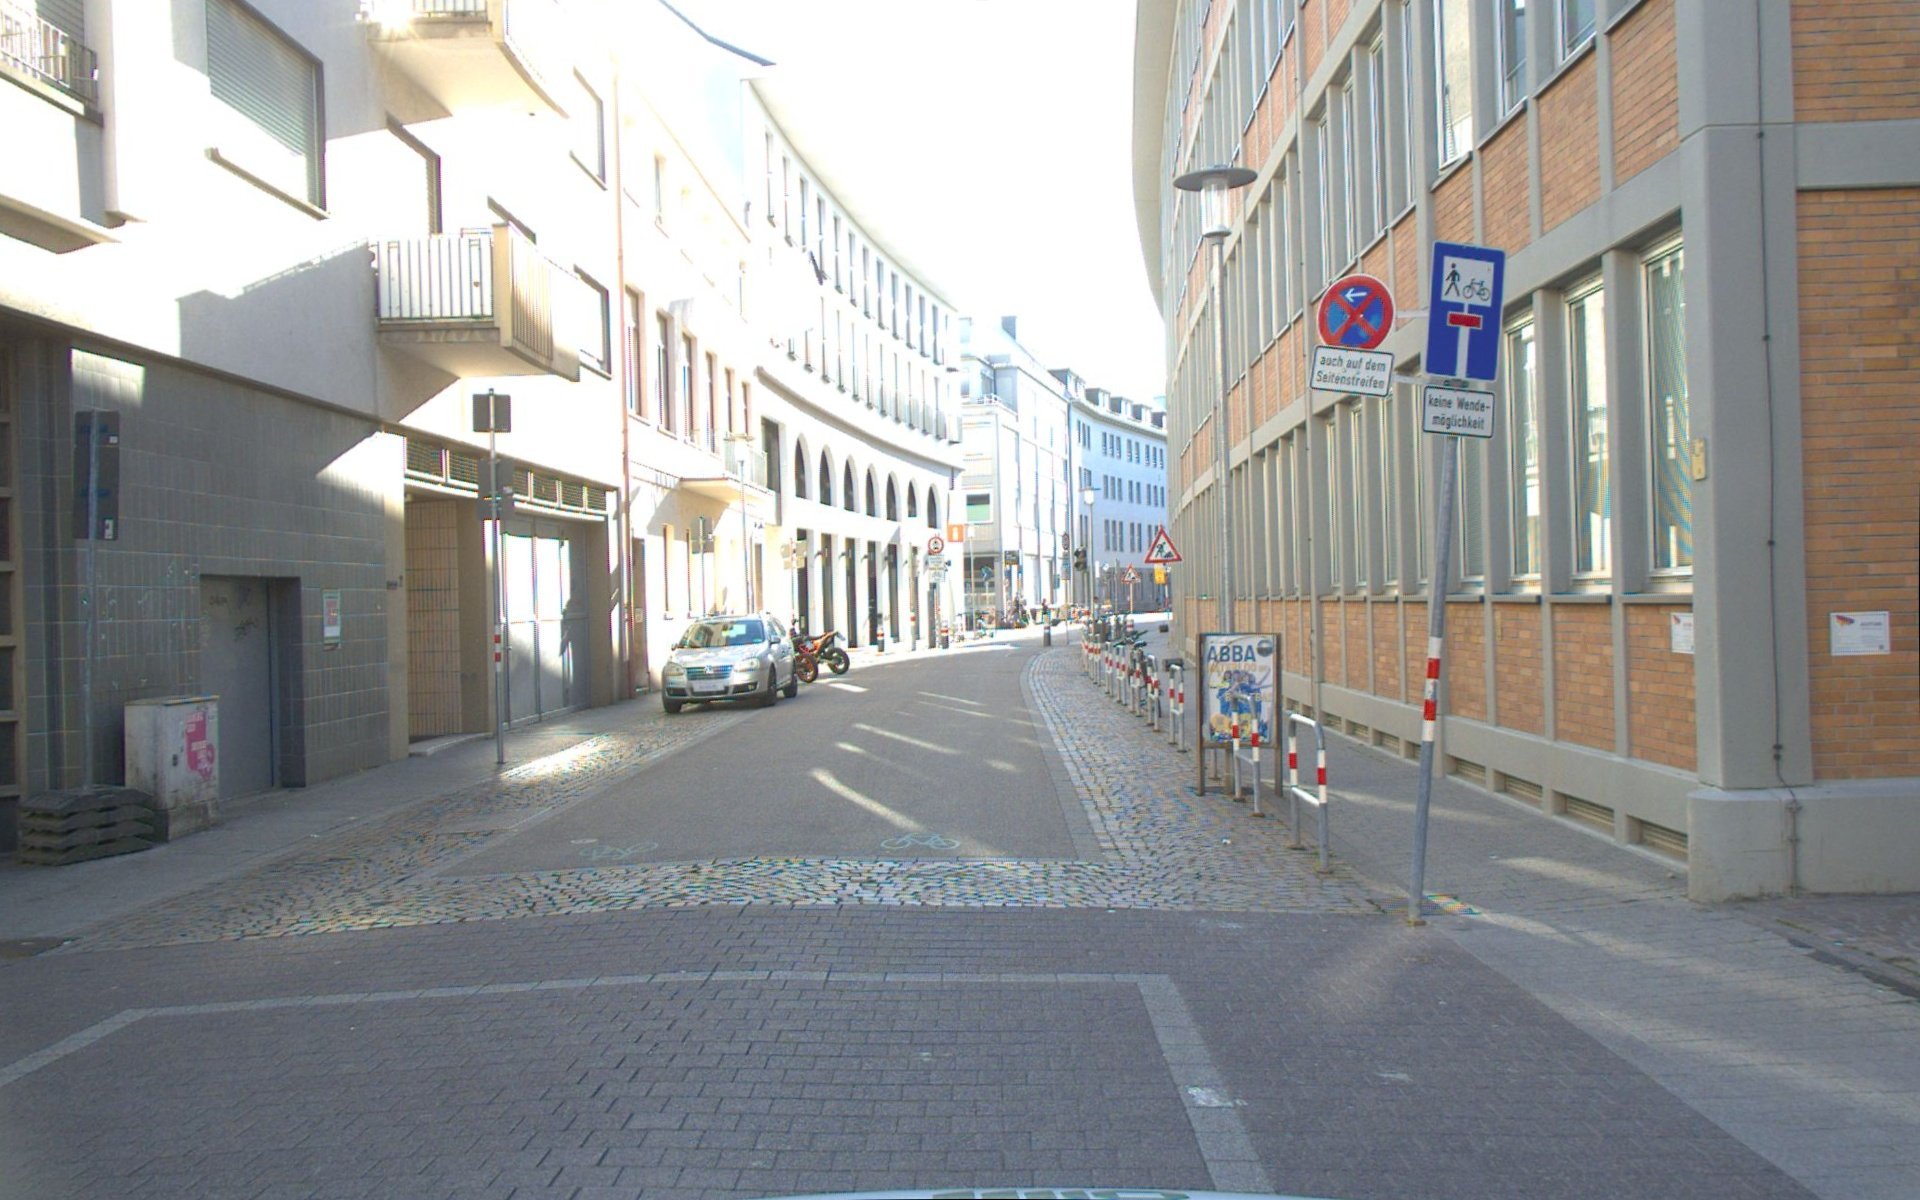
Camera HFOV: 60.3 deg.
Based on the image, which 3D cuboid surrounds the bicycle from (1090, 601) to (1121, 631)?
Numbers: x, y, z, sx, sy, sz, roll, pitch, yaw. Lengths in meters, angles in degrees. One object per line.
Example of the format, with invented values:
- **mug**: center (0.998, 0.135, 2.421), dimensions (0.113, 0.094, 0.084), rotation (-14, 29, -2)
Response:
- **bicycle**: center (5.601, 0.583, 63.494), dimensions (0.908, 1.066, 3.370), rotation (-2, 0, 9)

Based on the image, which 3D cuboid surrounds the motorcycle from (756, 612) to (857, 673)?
- **motorcycle**: center (-3.554, 0.982, 38.208), dimensions (2.235, 1.267, 0.574), rotation (-3, 0, 22)

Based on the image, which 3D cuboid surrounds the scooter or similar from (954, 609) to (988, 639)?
- **scooter or similar**: center (0.477, 1.041, 72.585), dimensions (0.526, 1.218, 1.937), rotation (-3, -2, -30)

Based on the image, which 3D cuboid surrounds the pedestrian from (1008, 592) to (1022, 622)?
- **pedestrian**: center (2.905, 0.380, 87.724), dimensions (0.644, 1.554, 0.483), rotation (-3, 0, 3)

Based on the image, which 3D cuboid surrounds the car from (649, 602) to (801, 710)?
- **car**: center (-3.742, 0.848, 26.952), dimensions (1.729, 1.496, 3.814), rotation (-4, 0, 2)

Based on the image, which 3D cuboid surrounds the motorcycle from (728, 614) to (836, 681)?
- **motorcycle**: center (-3.701, 0.987, 34.366), dimensions (2.161, 1.267, 0.574), rotation (-3, 0, 22)

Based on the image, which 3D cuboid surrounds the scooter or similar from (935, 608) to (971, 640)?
- **scooter or similar**: center (-0.310, 0.977, 67.978), dimensions (0.526, 1.218, 1.937), rotation (-3, -2, -30)

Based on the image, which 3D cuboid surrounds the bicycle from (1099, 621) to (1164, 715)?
- **bicycle**: center (2.244, 0.866, 21.800), dimensions (0.623, 1.136, 1.931), rotation (-2, 0, 0)

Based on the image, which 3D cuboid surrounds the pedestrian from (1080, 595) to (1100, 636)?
- **pedestrian**: center (4.726, 0.553, 60.139), dimensions (0.643, 1.466, 0.596), rotation (-2, 0, 3)

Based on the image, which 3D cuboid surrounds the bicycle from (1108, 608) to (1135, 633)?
- **bicycle**: center (6.798, 0.857, 69.527), dimensions (0.908, 0.977, 3.370), rotation (-2, 0, 9)
